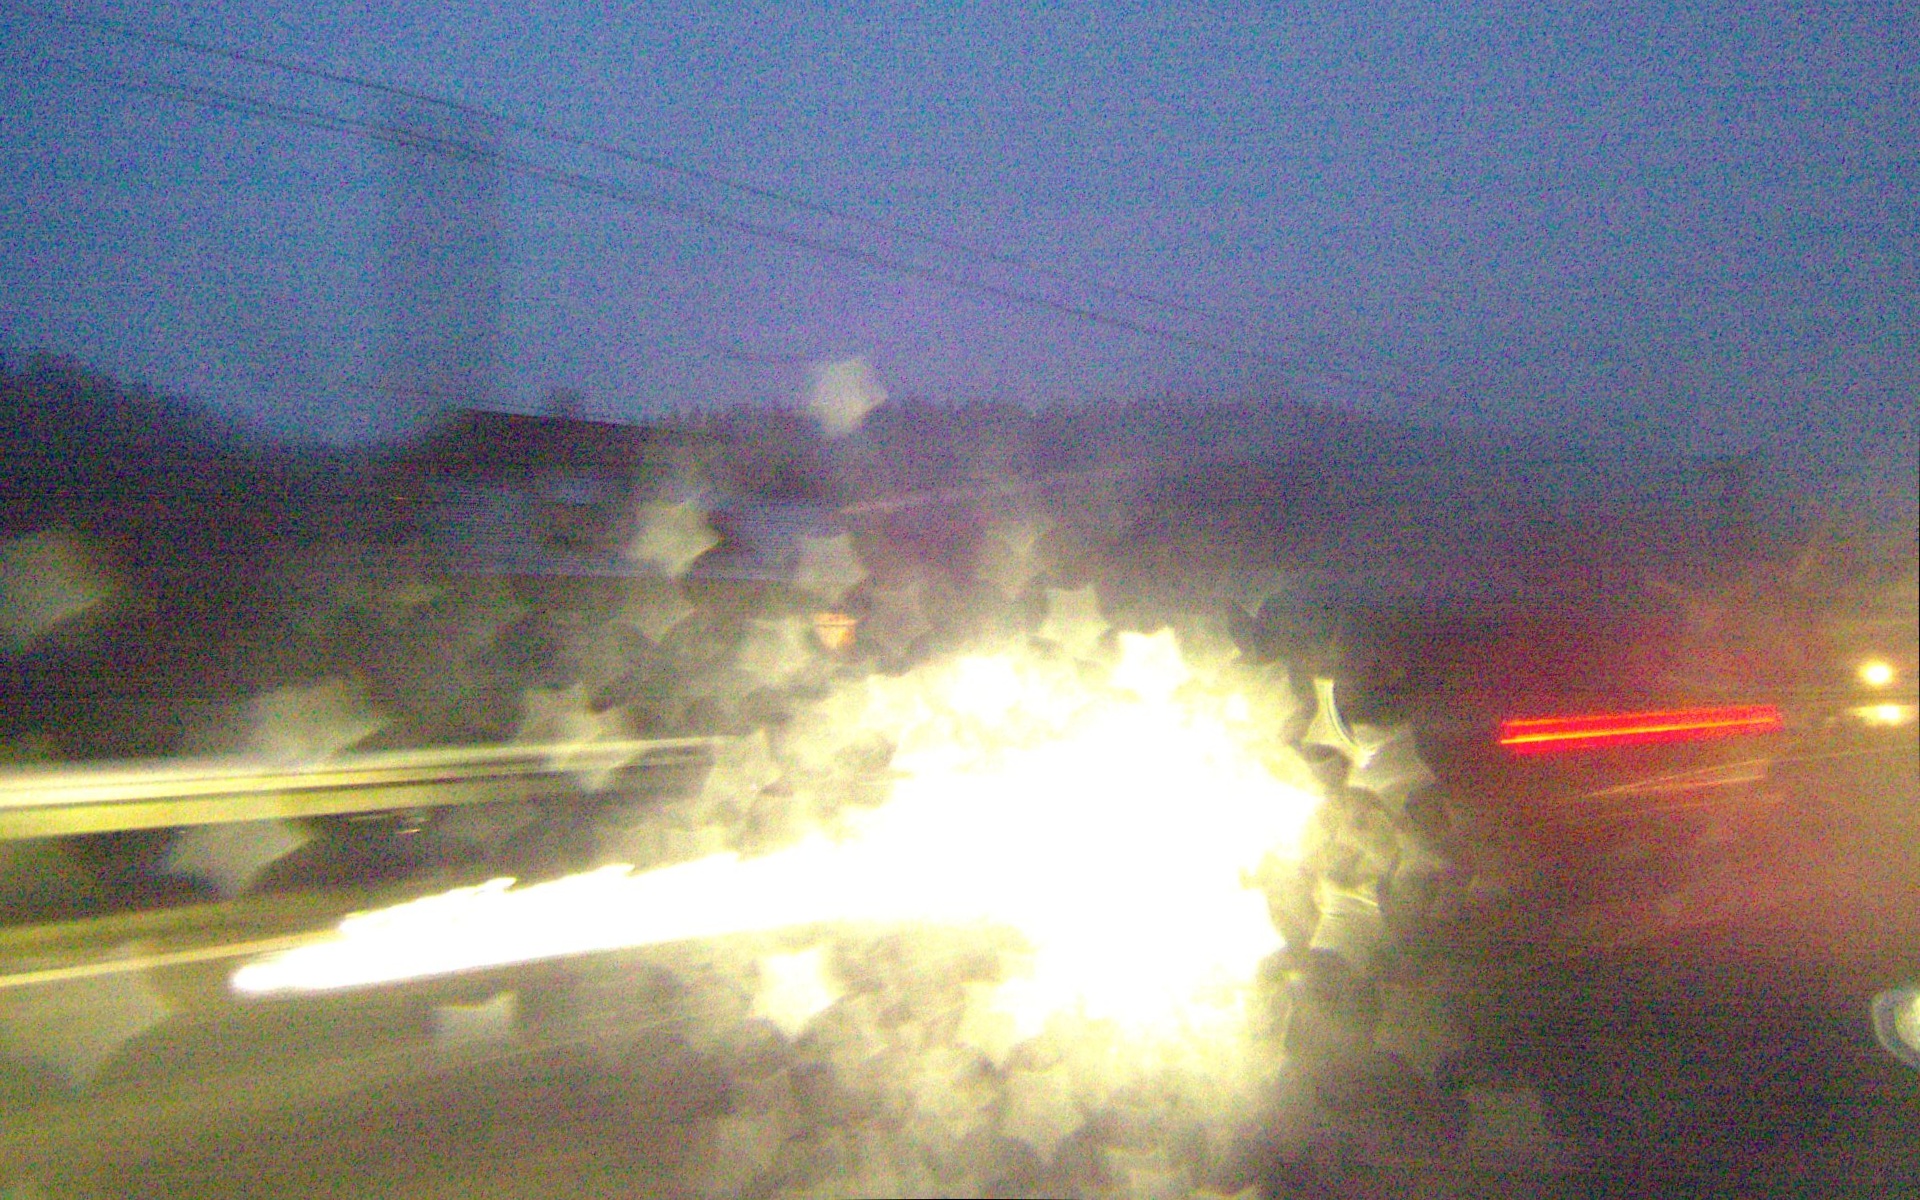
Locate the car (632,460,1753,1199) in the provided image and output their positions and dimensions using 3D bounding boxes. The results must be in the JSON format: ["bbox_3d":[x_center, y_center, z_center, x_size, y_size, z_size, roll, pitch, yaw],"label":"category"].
[{"bbox_3d":[1.199,0.636,4.356,4.644,1.715,1.984,3,-2,-31],"label":"car"}]
